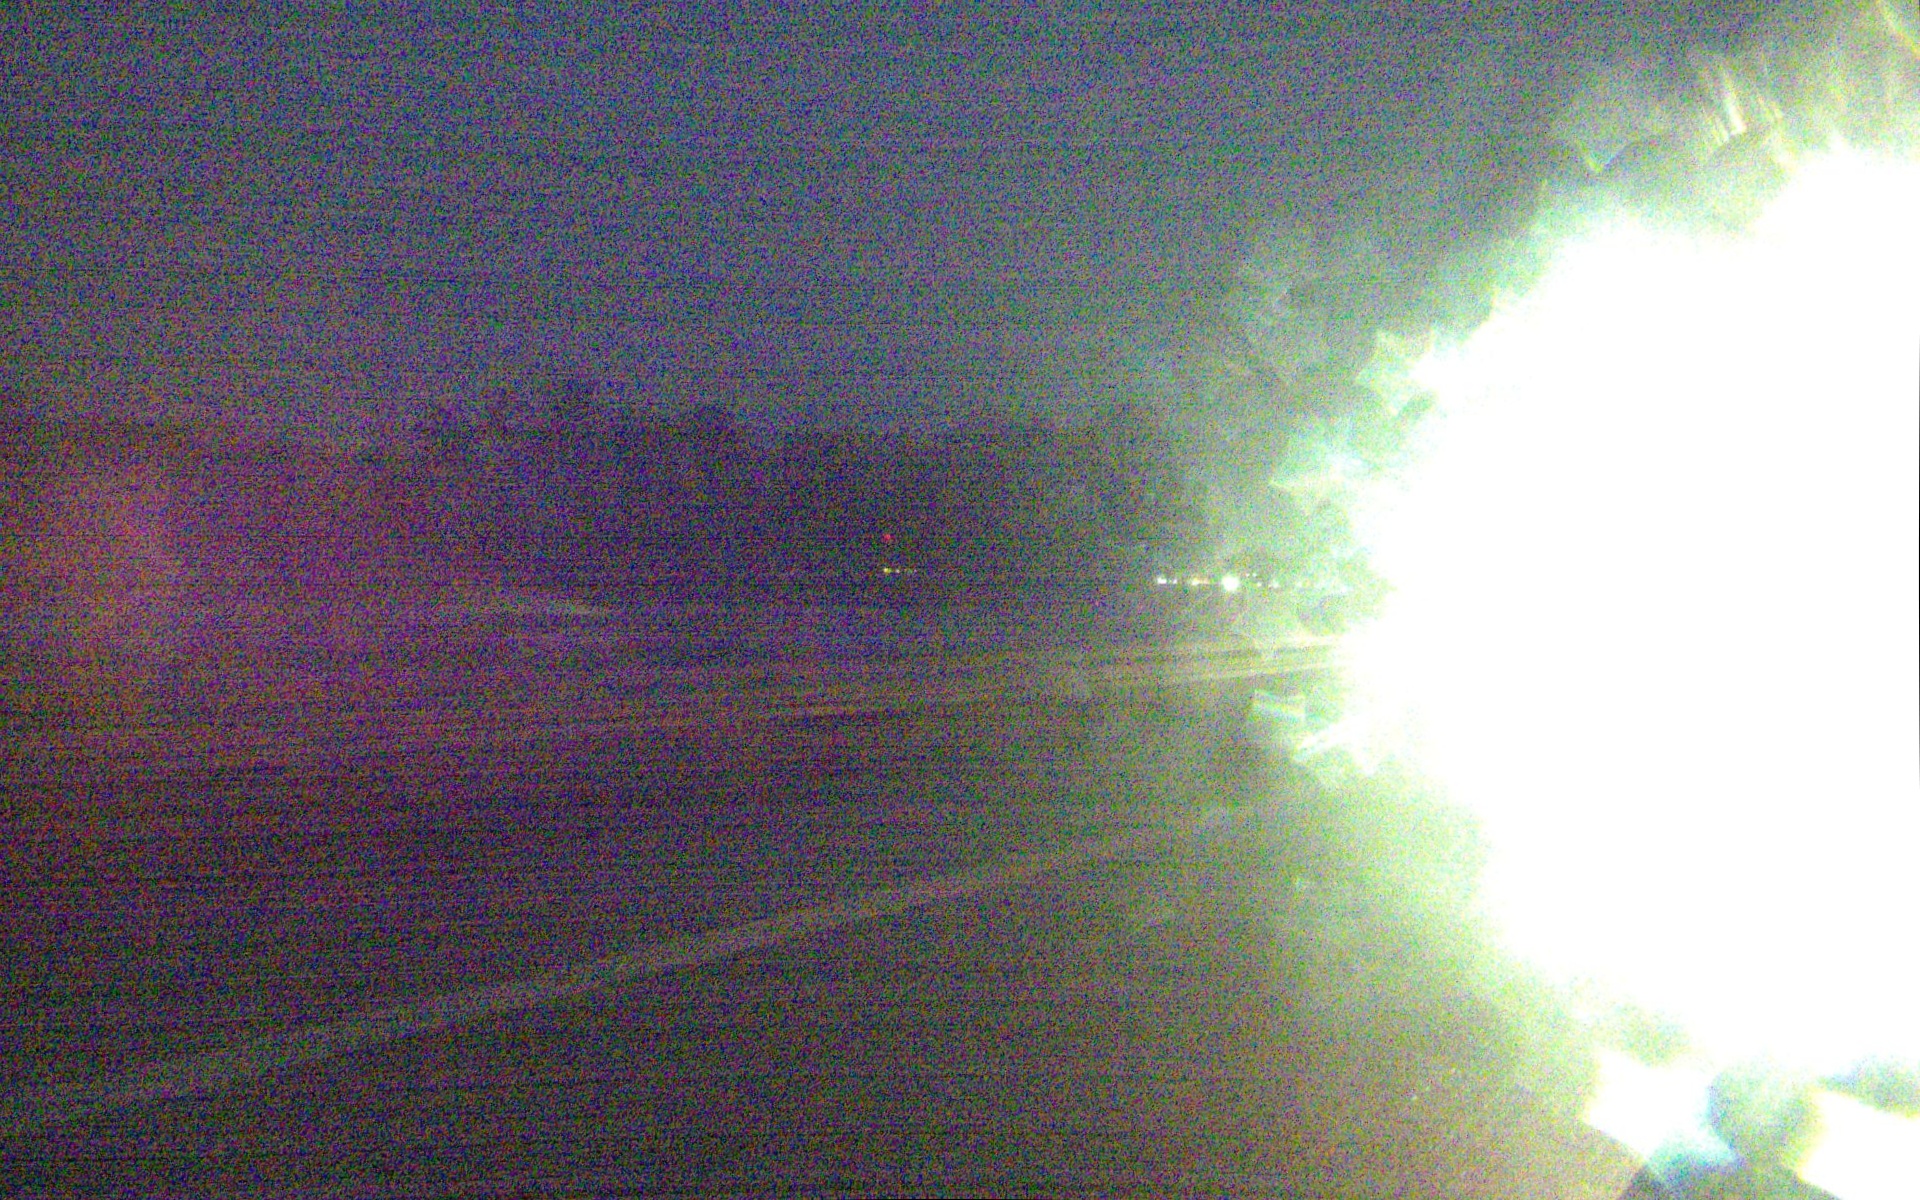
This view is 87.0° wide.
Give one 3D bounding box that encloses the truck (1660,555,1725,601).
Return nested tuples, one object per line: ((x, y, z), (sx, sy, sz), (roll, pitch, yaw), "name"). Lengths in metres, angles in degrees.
((72.533, -2.129, 100.322), (2.493, 4.391, 5.561), (0, 1, 2), "truck")

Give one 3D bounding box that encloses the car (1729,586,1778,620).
((41.620, 0.152, 53.155), (1.730, 1.705, 4.069), (0, 0, 35), "car")

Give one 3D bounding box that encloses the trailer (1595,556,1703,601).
((72.760, -2.234, 107.395), (2.493, 4.391, 13.703), (0, 1, 2), "trailer")

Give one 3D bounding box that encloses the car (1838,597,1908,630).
((39.068, 0.529, 43.386), (1.750, 1.328, 4.033), (0, 0, 35), "car")
